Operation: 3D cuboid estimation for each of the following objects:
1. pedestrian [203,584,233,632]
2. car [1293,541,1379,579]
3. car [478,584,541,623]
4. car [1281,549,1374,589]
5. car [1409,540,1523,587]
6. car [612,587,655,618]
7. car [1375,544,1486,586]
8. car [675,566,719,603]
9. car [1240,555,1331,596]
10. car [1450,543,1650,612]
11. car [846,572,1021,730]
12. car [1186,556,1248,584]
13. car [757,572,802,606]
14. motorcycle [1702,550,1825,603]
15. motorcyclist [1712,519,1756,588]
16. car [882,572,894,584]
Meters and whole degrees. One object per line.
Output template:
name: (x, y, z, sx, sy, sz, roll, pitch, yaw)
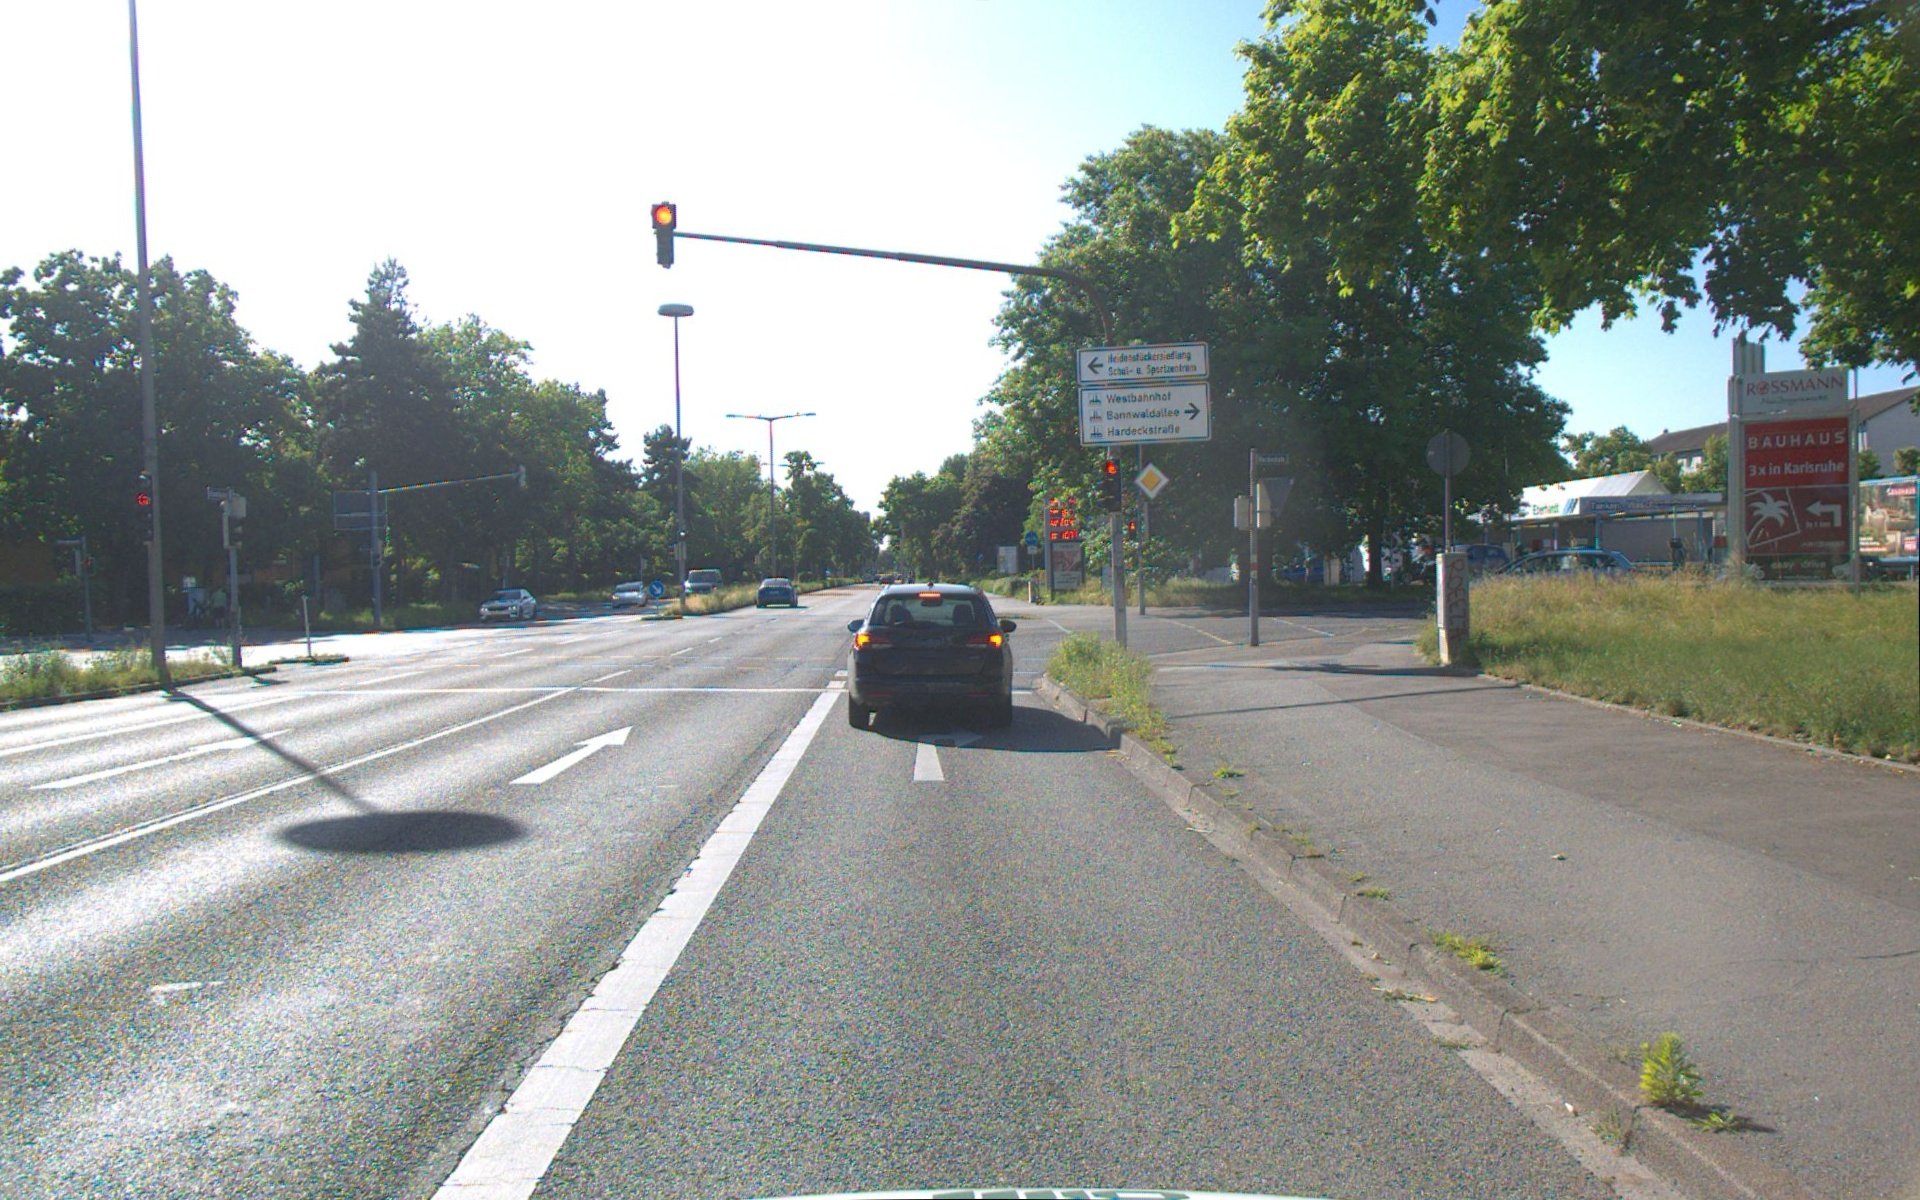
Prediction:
pedestrian: (-28.957, 0.311, 64.554, 0.828, 1.867, 0.550, -2, 1, 2)
car: (17.861, -1.878, 78.686, 3.639, 1.714, 1.703, 1, 0, -5)
car: (-20.765, 0.148, 76.383, 1.826, 1.713, 4.259, 1, 0, -1)
car: (15.650, -1.300, 70.359, 3.802, 1.590, 1.784, 1, 0, -34)
car: (18.867, -1.334, 61.710, 3.781, 1.640, 1.794, 1, 0, -21)
car: (-19.548, 0.122, 99.190, 1.826, 1.713, 3.999, -2, 1, -1)
car: (18.050, -1.317, 63.445, 3.781, 1.508, 1.794, 1, 0, -21)
car: (-14.977, -0.851, 94.229, 1.953, 2.049, 3.999, 1, 0, -2)
car: (14.305, -1.074, 72.682, 3.669, 1.714, 1.689, 1, 0, -28)
car: (15.006, -0.550, 42.296, 4.519, 1.601, 2.002, -1, 0, 10)
car: (-0.316, 0.499, 18.270, 1.720, 1.535, 3.807, -1, 0, -2)
car: (16.414, -1.895, 105.671, 3.639, 1.714, 1.703, 1, 0, -5)
car: (-8.949, -0.548, 82.289, 1.850, 1.579, 3.999, -1, 0, -2)
motorcycle: (20.199, -0.592, 41.621, 2.667, 1.293, 0.835, 1, 0, 15)
motorcyclist: (19.547, -1.166, 41.786, 0.842, 1.709, 0.835, 1, 0, 15)
car: (-10.472, -3.206, 240.436, 1.698, 1.612, 3.838, 1, 0, -3)
